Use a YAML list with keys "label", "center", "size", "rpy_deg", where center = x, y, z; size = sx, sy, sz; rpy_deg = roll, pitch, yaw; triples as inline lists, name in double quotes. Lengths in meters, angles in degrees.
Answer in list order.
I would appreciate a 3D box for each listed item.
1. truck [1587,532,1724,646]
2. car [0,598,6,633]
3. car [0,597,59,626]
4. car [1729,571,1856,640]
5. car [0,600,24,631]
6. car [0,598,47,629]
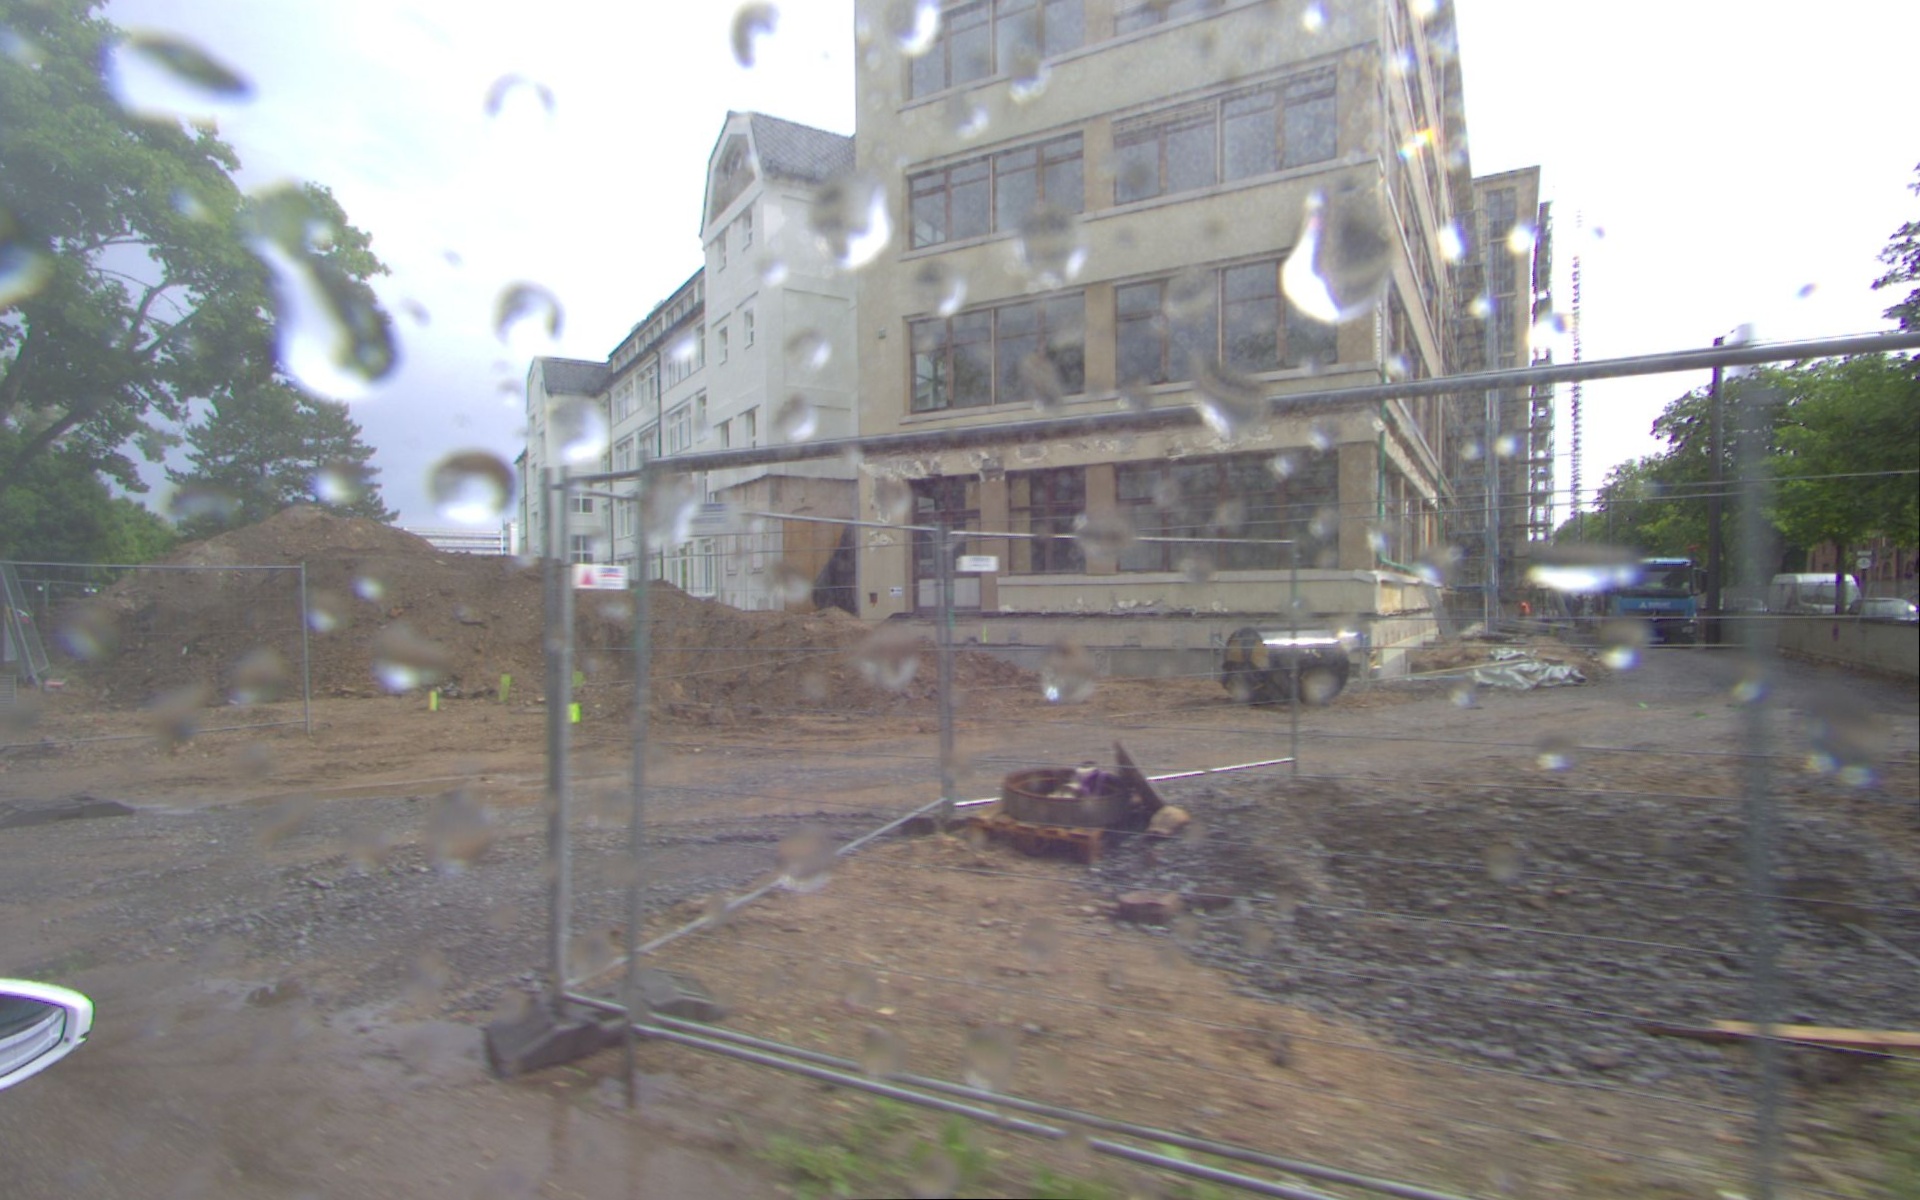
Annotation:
- label: "truck"
  center: [25.005, -0.306, 36.492]
  size: [3.194, 3.574, 9.865]
  rpy_deg: [2, 0, 30]
- label: "car"
  center: [-48.250, 0.701, 47.552]
  size: [4.073, 1.672, 1.832]
  rpy_deg: [2, 0, -38]
- label: "car"
  center: [-54.165, 0.631, 57.196]
  size: [3.823, 1.594, 1.943]
  rpy_deg: [2, 0, -37]
- label: "car"
  center: [32.965, 0.233, 39.906]
  size: [2.555, 2.507, 6.130]
  rpy_deg: [2, 0, 27]
- label: "car"
  center: [-49.347, 0.739, 49.771]
  size: [3.908, 1.537, 1.792]
  rpy_deg: [2, 0, -38]
- label: "car"
  center: [-51.139, 0.703, 52.973]
  size: [3.951, 1.581, 1.751]
  rpy_deg: [2, 0, -36]
